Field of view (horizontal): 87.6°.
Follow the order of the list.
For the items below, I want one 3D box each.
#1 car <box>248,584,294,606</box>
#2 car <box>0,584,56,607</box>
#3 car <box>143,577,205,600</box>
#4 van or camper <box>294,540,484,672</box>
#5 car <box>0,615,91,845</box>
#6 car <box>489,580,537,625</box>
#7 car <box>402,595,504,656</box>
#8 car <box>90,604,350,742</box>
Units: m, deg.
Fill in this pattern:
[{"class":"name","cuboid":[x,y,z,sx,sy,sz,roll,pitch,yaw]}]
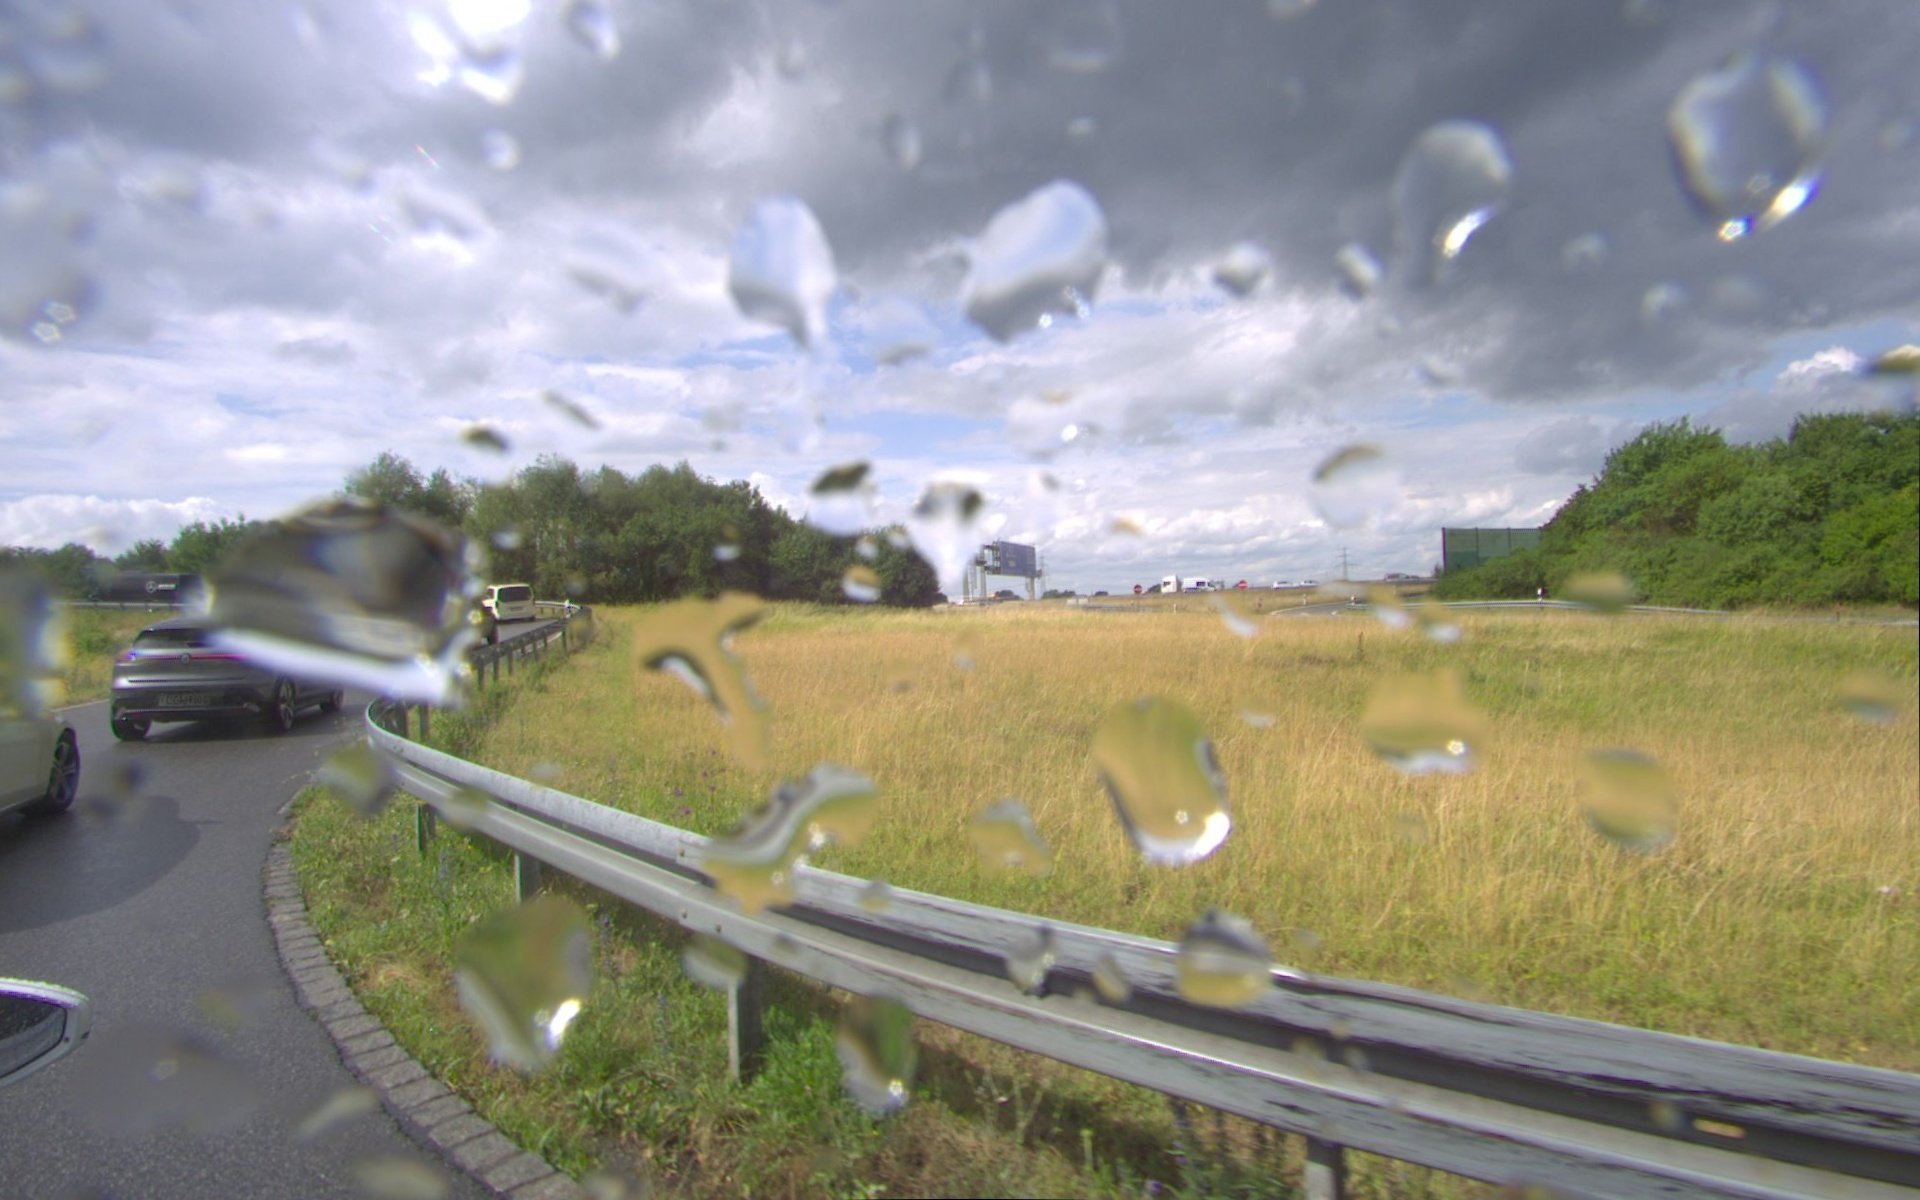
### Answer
[{"class":"car","cuboid":[-47.806,-0.367,69.435,3.161,1.420,1.462,1,3,32]},{"class":"car","cuboid":[-66.305,-0.295,70.732,3.260,1.557,1.468,-1,3,-8]},{"class":"car","cuboid":[-55.348,-0.801,70.515,3.259,1.557,1.469,0,3,5]},{"class":"van or camper","cuboid":[-14.414,0.106,25.956,2.315,2.859,7.593,-2,1,-15]},{"class":"car","cuboid":[-6.928,0.841,5.984,1.695,1.500,4.496,0,-1,-29]},{"class":"car","cuboid":[-21.999,0.089,49.193,1.862,2.042,3.979,-2,3,-28]},{"class":"car","cuboid":[-15.896,0.741,31.597,1.905,1.551,3.992,-5,3,-14]},{"class":"car","cuboid":[-9.766,0.850,13.587,1.820,1.501,3.797,0,1,-20]}]
